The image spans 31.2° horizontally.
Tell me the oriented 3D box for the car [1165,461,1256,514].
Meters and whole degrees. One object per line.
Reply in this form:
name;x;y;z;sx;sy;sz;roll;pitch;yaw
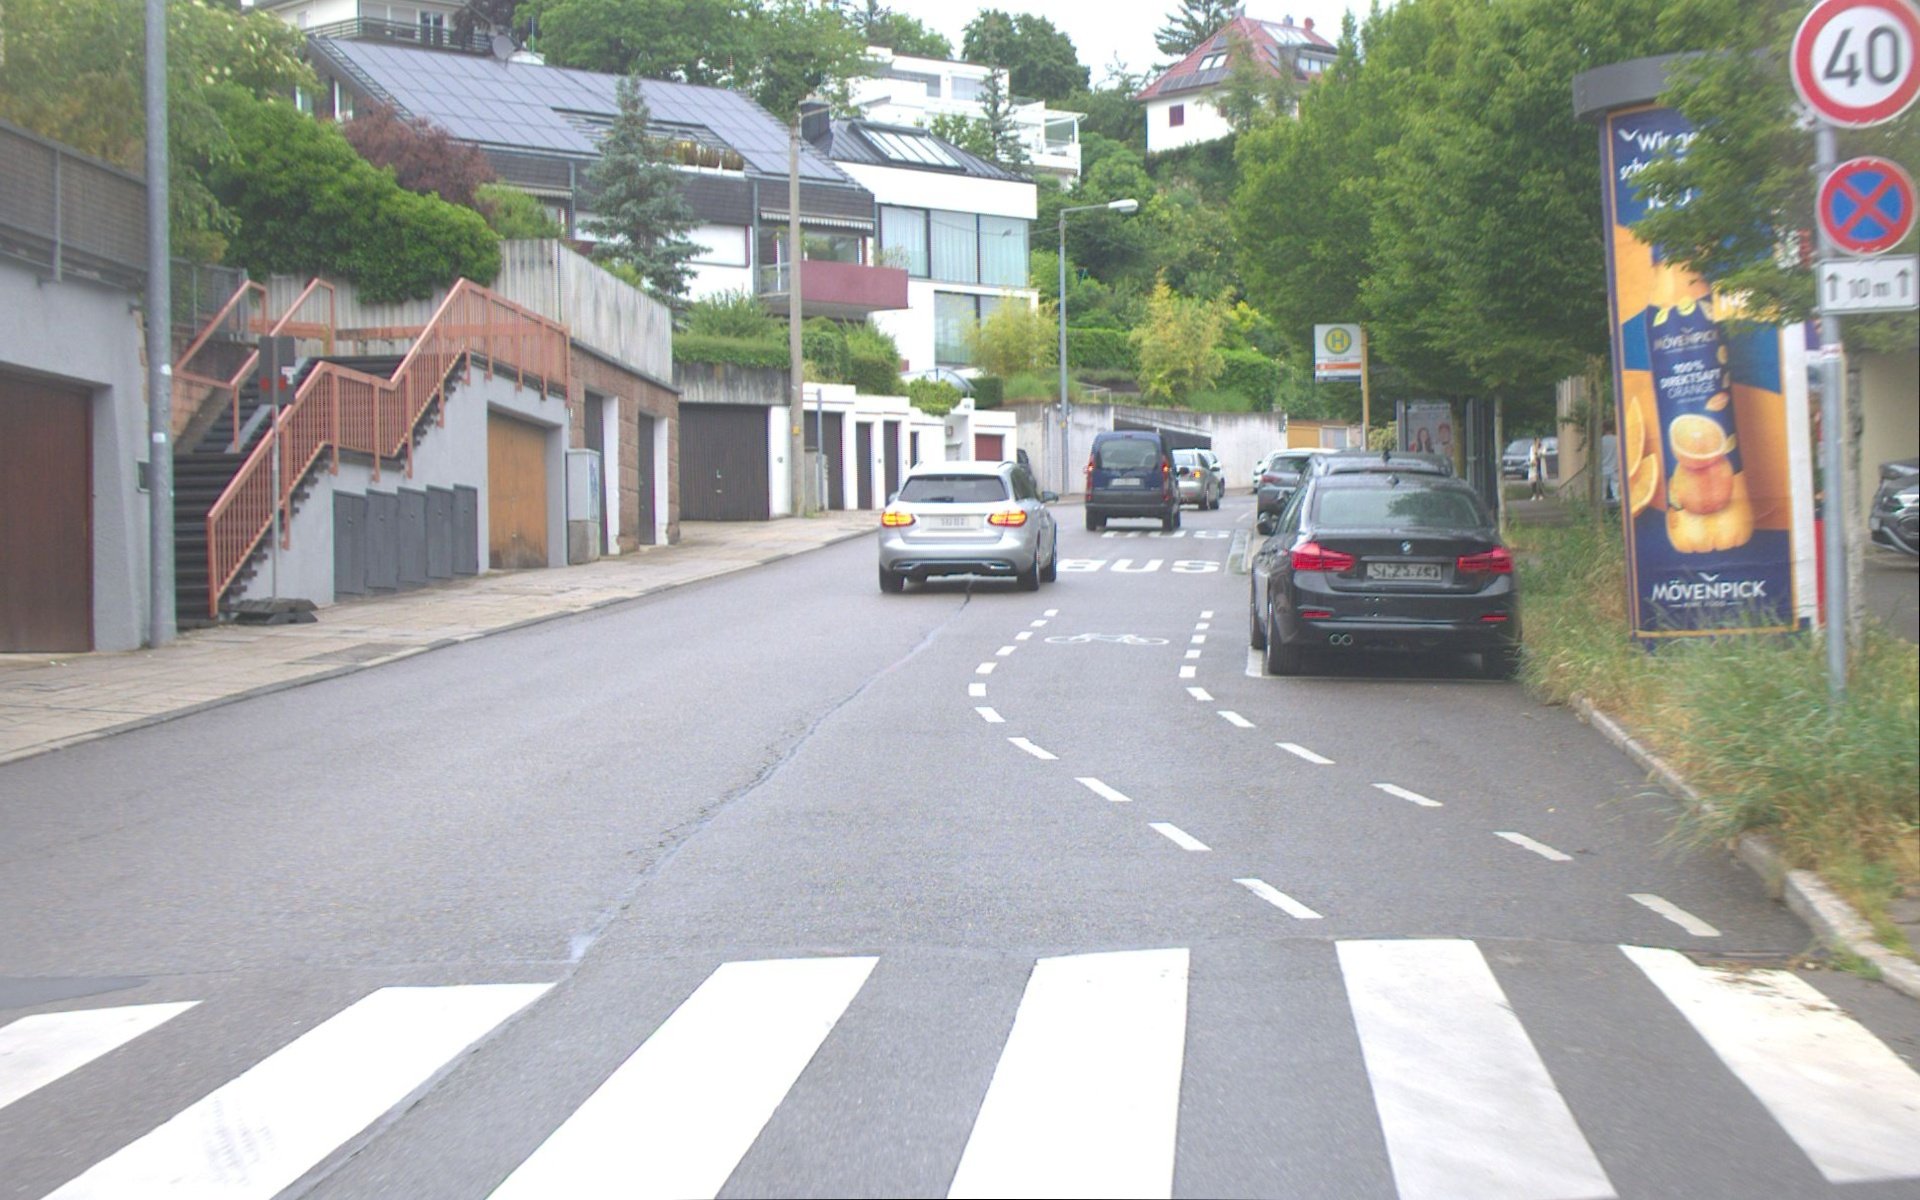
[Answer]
car;7.784;-3.489;106.673;1.730;1.601;3.544;2;2;23

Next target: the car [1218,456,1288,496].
car;9.871;-4.174;115.571;1.825;1.292;3.998;1;2;13

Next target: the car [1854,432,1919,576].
car;11.048;-0.946;34.246;3.991;1.410;1.723;1;2;20

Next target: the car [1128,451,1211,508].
car;4.955;-2.844;80.953;1.824;1.292;4.000;0;2;5

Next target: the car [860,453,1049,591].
car;-0.009;-0.932;39.288;1.811;1.356;4.000;2;4;4

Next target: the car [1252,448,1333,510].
car;6.938;-2.528;71.539;1.469;1.249;3.581;1;2;9

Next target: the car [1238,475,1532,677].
car;3.096;-0.242;25.824;1.771;1.372;4.349;0;2;2

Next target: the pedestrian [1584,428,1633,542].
pedestrian;10.241;-1.818;54.286;0.638;1.789;0.744;0;2;2

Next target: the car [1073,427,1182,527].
car;3.183;-2.315;64.683;1.824;1.812;4.000;0;2;6

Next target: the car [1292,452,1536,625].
car;4.006;-0.591;30.855;1.715;1.445;3.834;0;2;1
